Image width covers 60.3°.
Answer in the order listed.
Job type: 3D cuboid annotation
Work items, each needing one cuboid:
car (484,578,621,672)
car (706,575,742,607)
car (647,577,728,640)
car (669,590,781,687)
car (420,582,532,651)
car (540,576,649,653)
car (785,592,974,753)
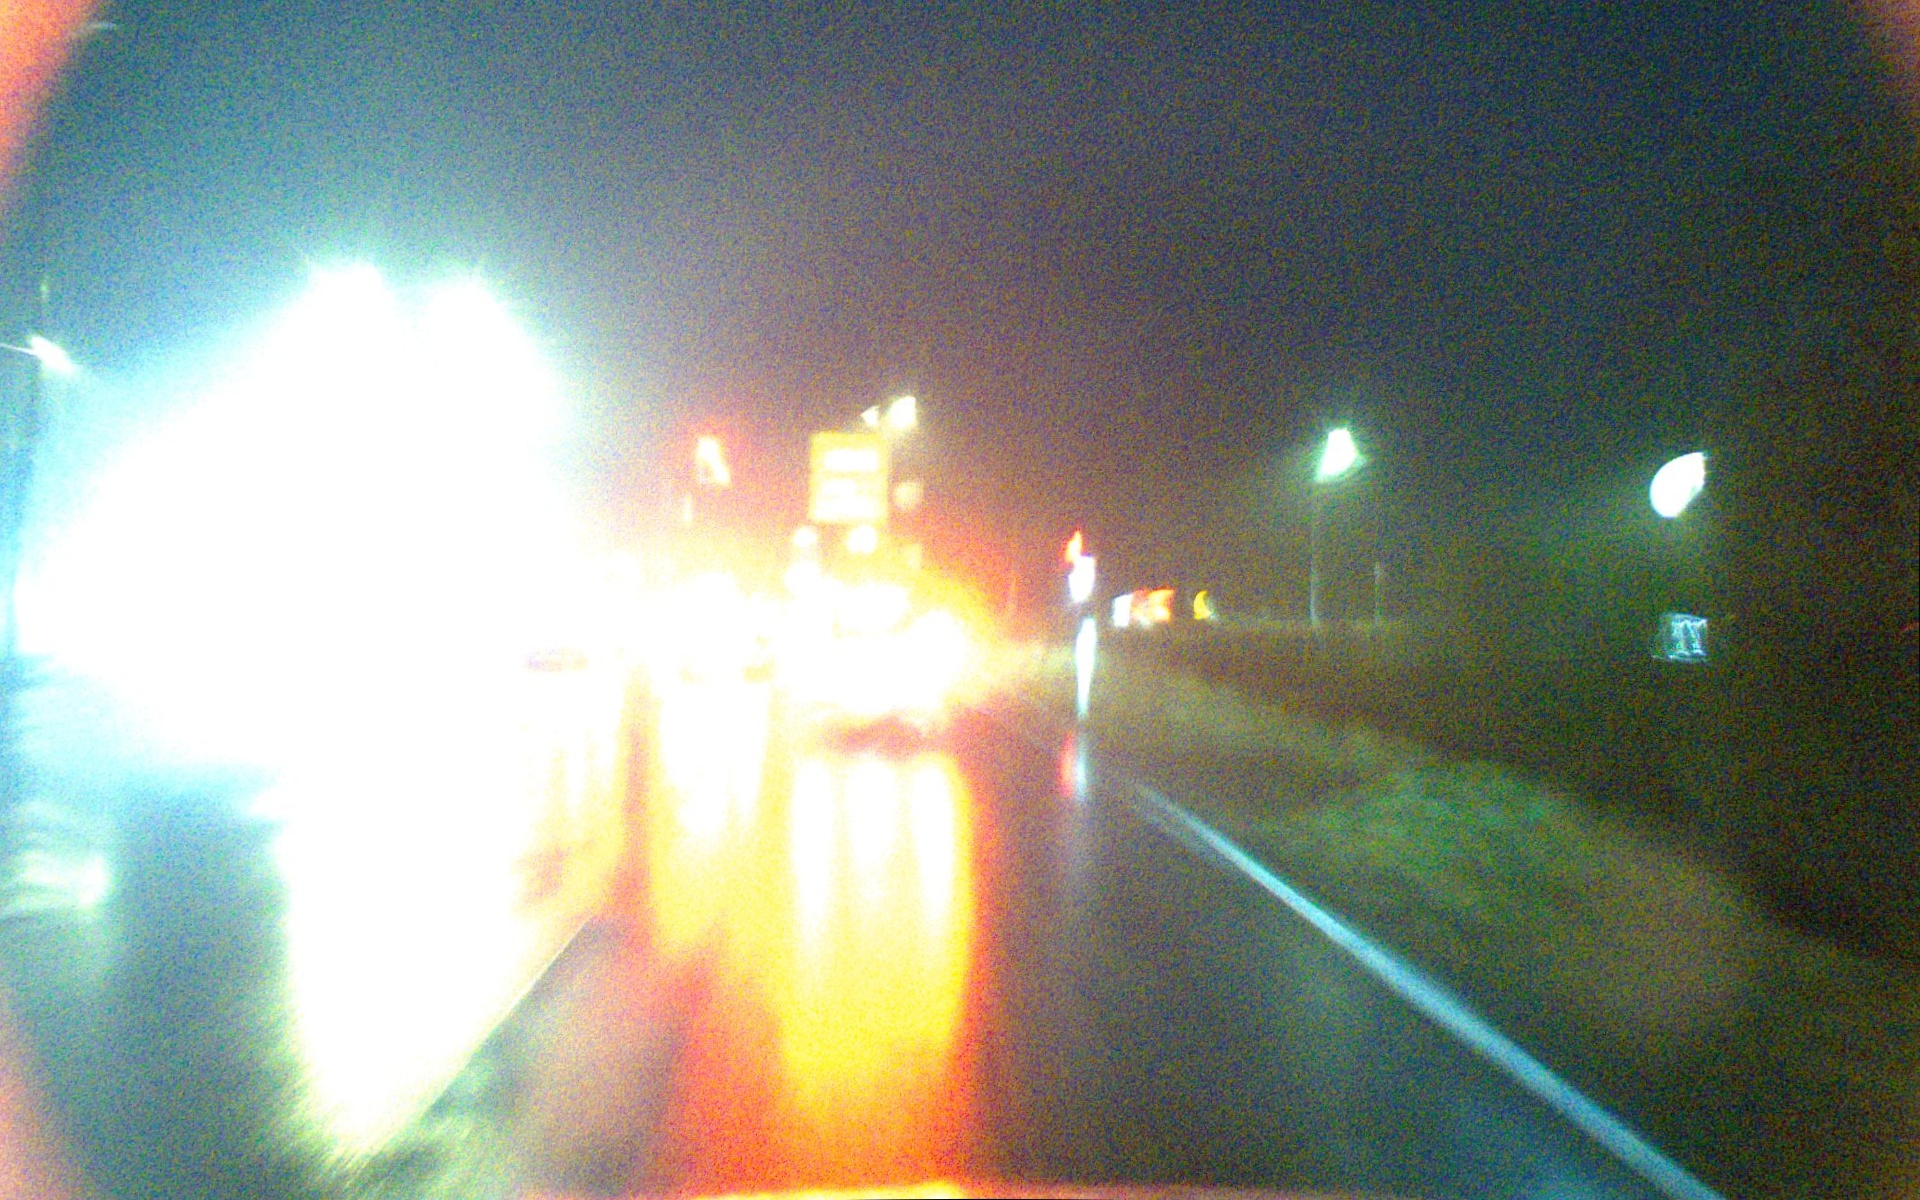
[{"bbox_3d":[-8.180,0.442,33.628,1.955,1.656,4.979,-2,1,-6],"label":"car"},{"bbox_3d":[-13.479,-0.542,94.579,1.956,1.656,4.975,-2,1,-8],"label":"car"},{"bbox_3d":[-7.954,0.199,48.667,1.955,1.656,4.979,-2,1,-6],"label":"car"},{"bbox_3d":[-4.632,0.700,33.189,1.955,1.656,4.979,-2,1,-6],"label":"car"},{"bbox_3d":[-13.095,0.388,45.052,1.955,1.656,4.979,-2,1,-6],"label":"car"},{"bbox_3d":[-8.870,0.299,40.498,1.955,1.656,4.979,-2,1,-6],"label":"car"},{"bbox_3d":[-0.850,0.777,19.696,1.953,1.656,4.984,1,0,0],"label":"car"}]
